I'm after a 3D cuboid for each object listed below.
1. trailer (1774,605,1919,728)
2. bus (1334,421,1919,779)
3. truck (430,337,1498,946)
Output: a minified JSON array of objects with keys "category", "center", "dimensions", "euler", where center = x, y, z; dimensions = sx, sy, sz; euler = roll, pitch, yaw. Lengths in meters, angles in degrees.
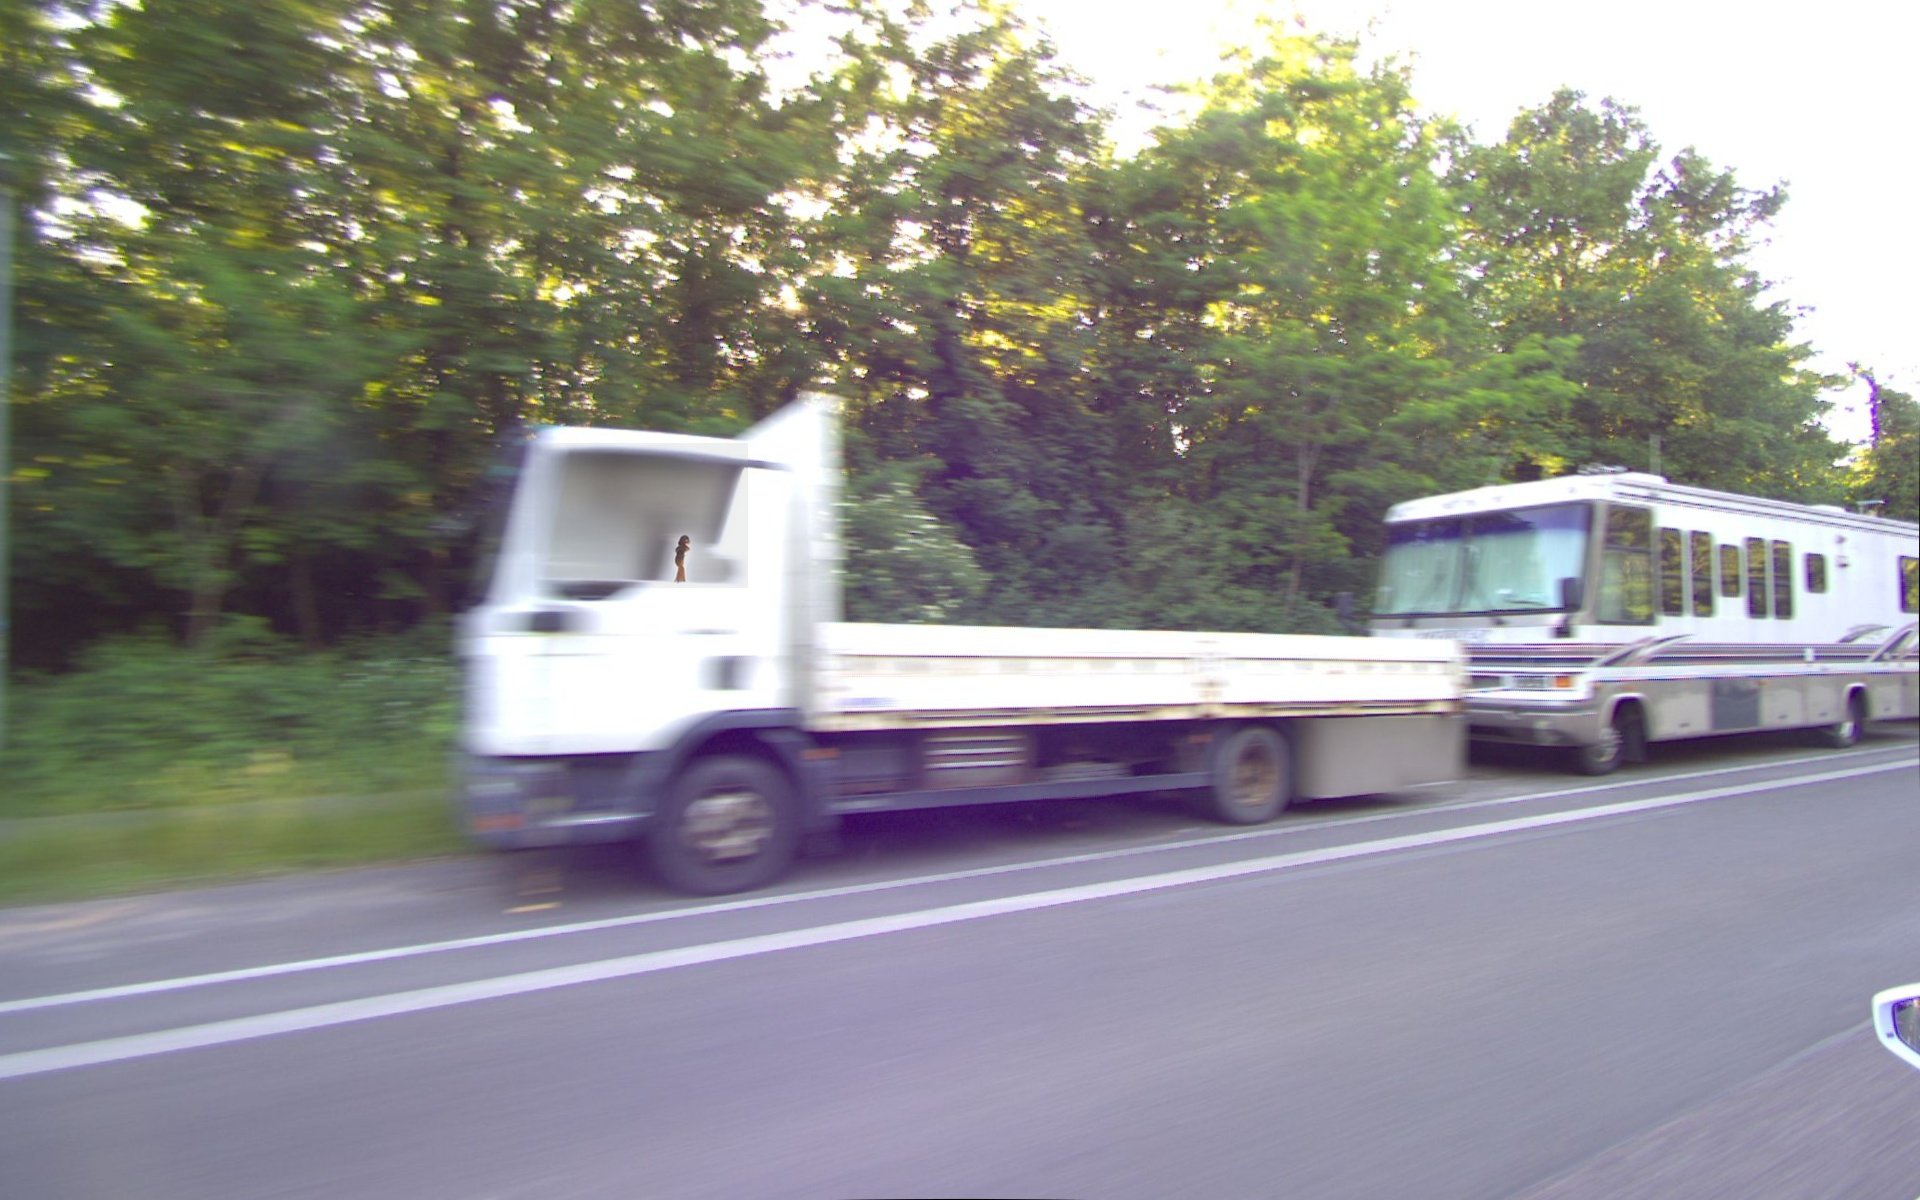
[{"category":"trailer","center":[17.544,1.118,18.119],"dimensions":[6.190,1.940,2.417],"euler":[1,0,-30]},{"category":"bus","center":[10.053,0.140,13.794],"dimensions":[11.069,3.476,2.814],"euler":[2,0,-30]},{"category":"truck","center":[0.583,0.268,7.914],"dimensions":[8.325,2.861,2.470],"euler":[1,0,-30]}]
